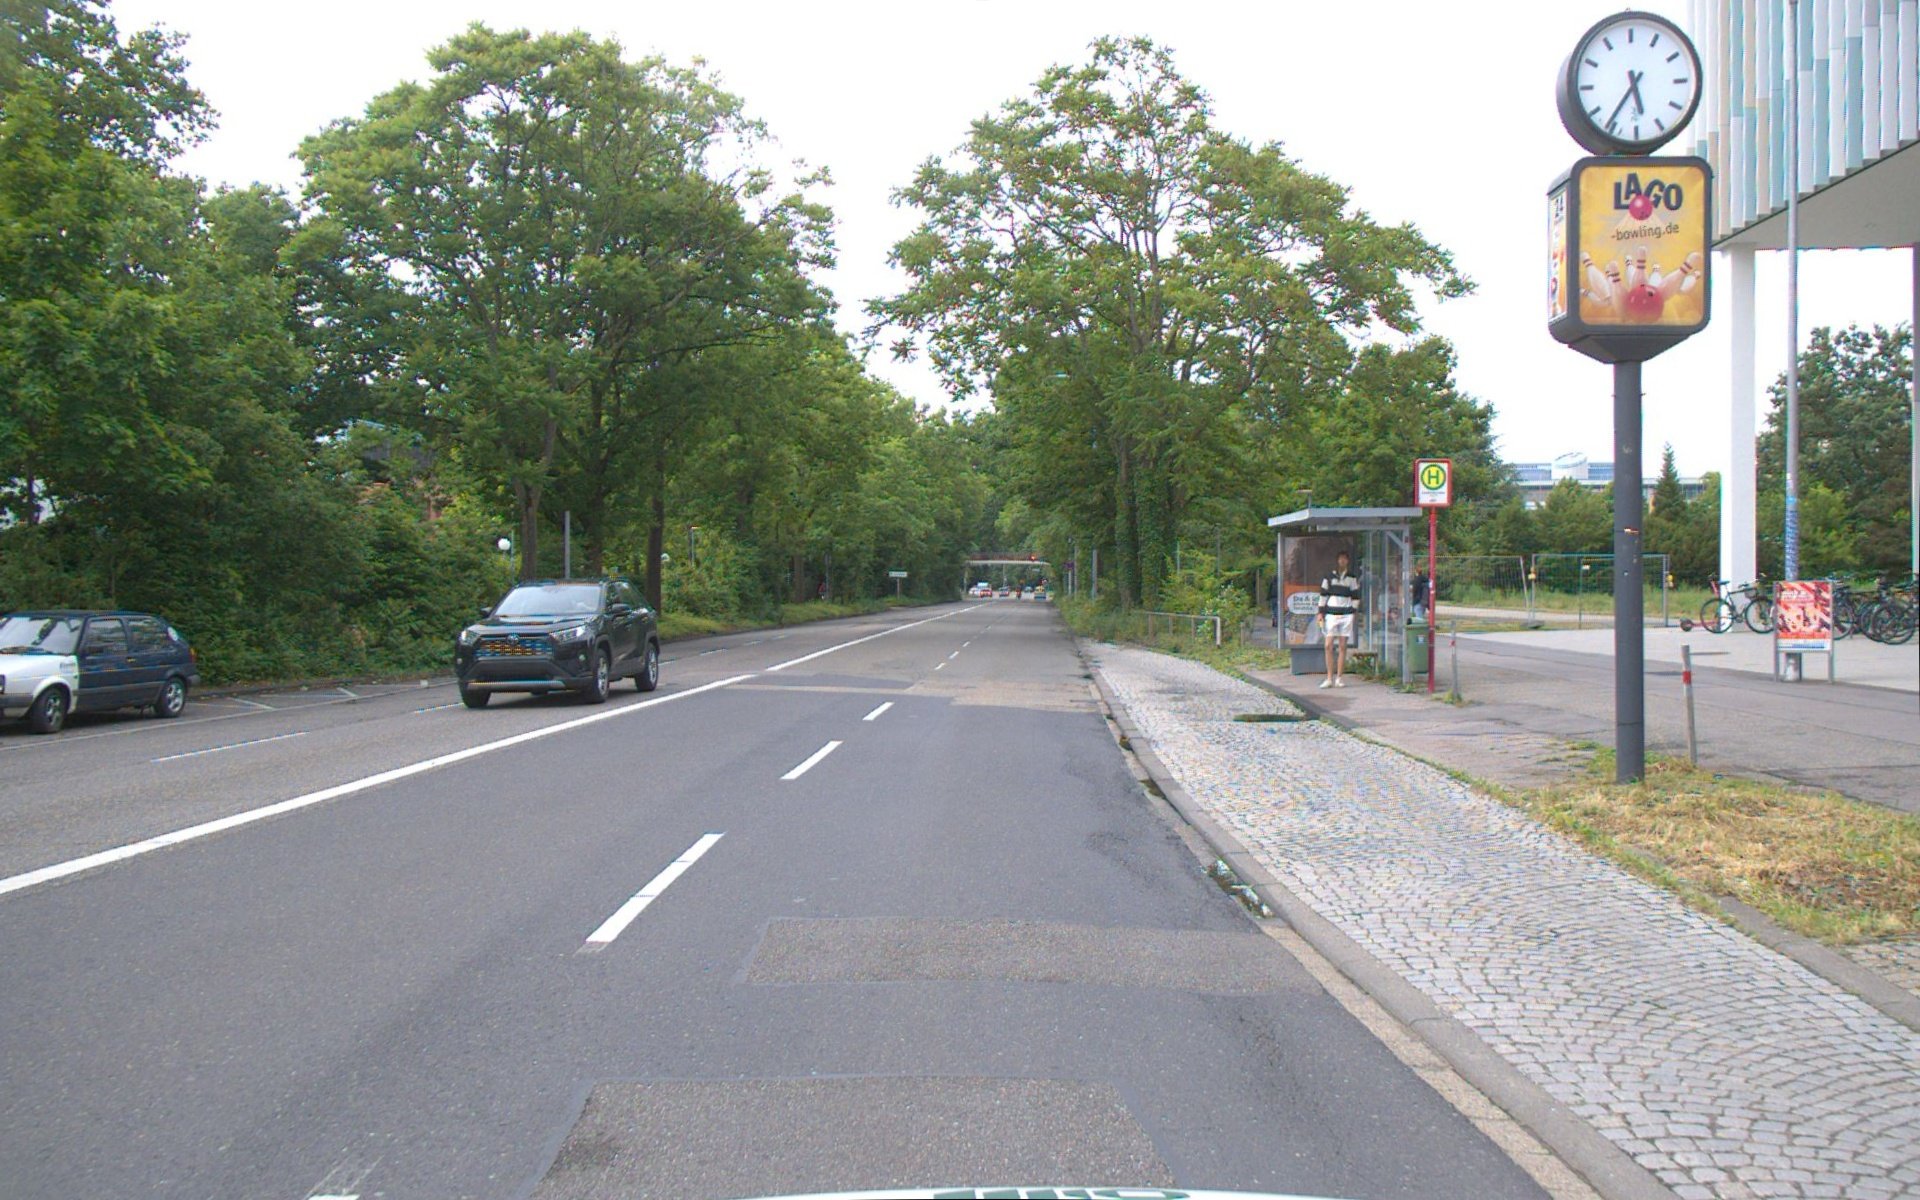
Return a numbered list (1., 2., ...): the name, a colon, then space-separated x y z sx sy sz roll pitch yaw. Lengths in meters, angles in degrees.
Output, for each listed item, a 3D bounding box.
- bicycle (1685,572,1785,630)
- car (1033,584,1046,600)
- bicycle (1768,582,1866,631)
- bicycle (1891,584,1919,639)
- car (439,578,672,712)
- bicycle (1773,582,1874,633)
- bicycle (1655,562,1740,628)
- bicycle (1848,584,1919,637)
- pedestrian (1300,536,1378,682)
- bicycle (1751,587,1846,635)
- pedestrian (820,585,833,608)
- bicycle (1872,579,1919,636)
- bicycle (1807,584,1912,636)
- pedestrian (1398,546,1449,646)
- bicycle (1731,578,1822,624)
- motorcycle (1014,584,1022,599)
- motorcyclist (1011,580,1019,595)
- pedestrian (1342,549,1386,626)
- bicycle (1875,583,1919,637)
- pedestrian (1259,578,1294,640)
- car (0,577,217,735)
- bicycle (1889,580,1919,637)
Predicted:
1. bicycle: 16.250 0.019 34.700 1.757 1.100 0.626 -3 0 1
2. car: 10.727 -1.065 223.295 1.805 2.049 4.002 1 0 3
3. bicycle: 16.450 0.120 31.761 1.572 0.890 0.556 -2 0 3
4. bicycle: 16.411 0.163 27.438 1.572 0.890 0.556 -2 0 3
5. car: -5.375 0.543 22.623 1.863 1.621 4.518 -1 0 3
6. bicycle: 16.277 0.133 31.182 1.572 0.890 0.556 -2 0 3
7. bicycle: 16.258 -0.104 36.490 1.612 1.356 0.463 -3 0 16
8. bicycle: 16.503 0.171 28.962 1.572 0.890 0.556 -2 0 3
9. pedestrian: 5.515 0.116 24.085 0.893 2.048 0.854 -2 2 2
10. bicycle: 16.580 0.223 32.714 1.572 0.890 0.556 -2 0 3
11. pedestrian: -9.332 -0.244 115.705 0.775 1.641 0.848 1 0 3
12. bicycle: 15.820 0.103 26.966 1.572 0.890 0.556 -2 0 3
13. bicycle: 16.386 0.172 30.159 1.572 0.890 0.556 -2 0 3
14. pedestrian: 9.745 -0.085 34.772 0.825 2.049 0.895 -1 0 2
15. bicycle: 16.569 0.018 33.573 1.573 0.890 0.556 -1 0 -1
16. motorcycle: 7.971 -1.163 227.116 0.969 1.970 2.670 1 0 3
17. motorcyclist: 7.510 -1.759 227.169 1.041 2.049 0.843 1 0 3
18. pedestrian: 10.990 -0.336 45.040 0.907 2.049 1.039 -1 0 -2
19. bicycle: 16.435 0.163 28.006 1.570 0.900 0.516 -1 0 3
20. pedestrian: 10.656 0.292 55.691 0.907 2.049 1.039 -1 0 -2
21. car: -11.056 0.594 20.239 1.952 1.719 4.002 1 0 3
22. bicycle: 15.784 0.109 26.383 1.572 0.890 0.556 -2 0 3
